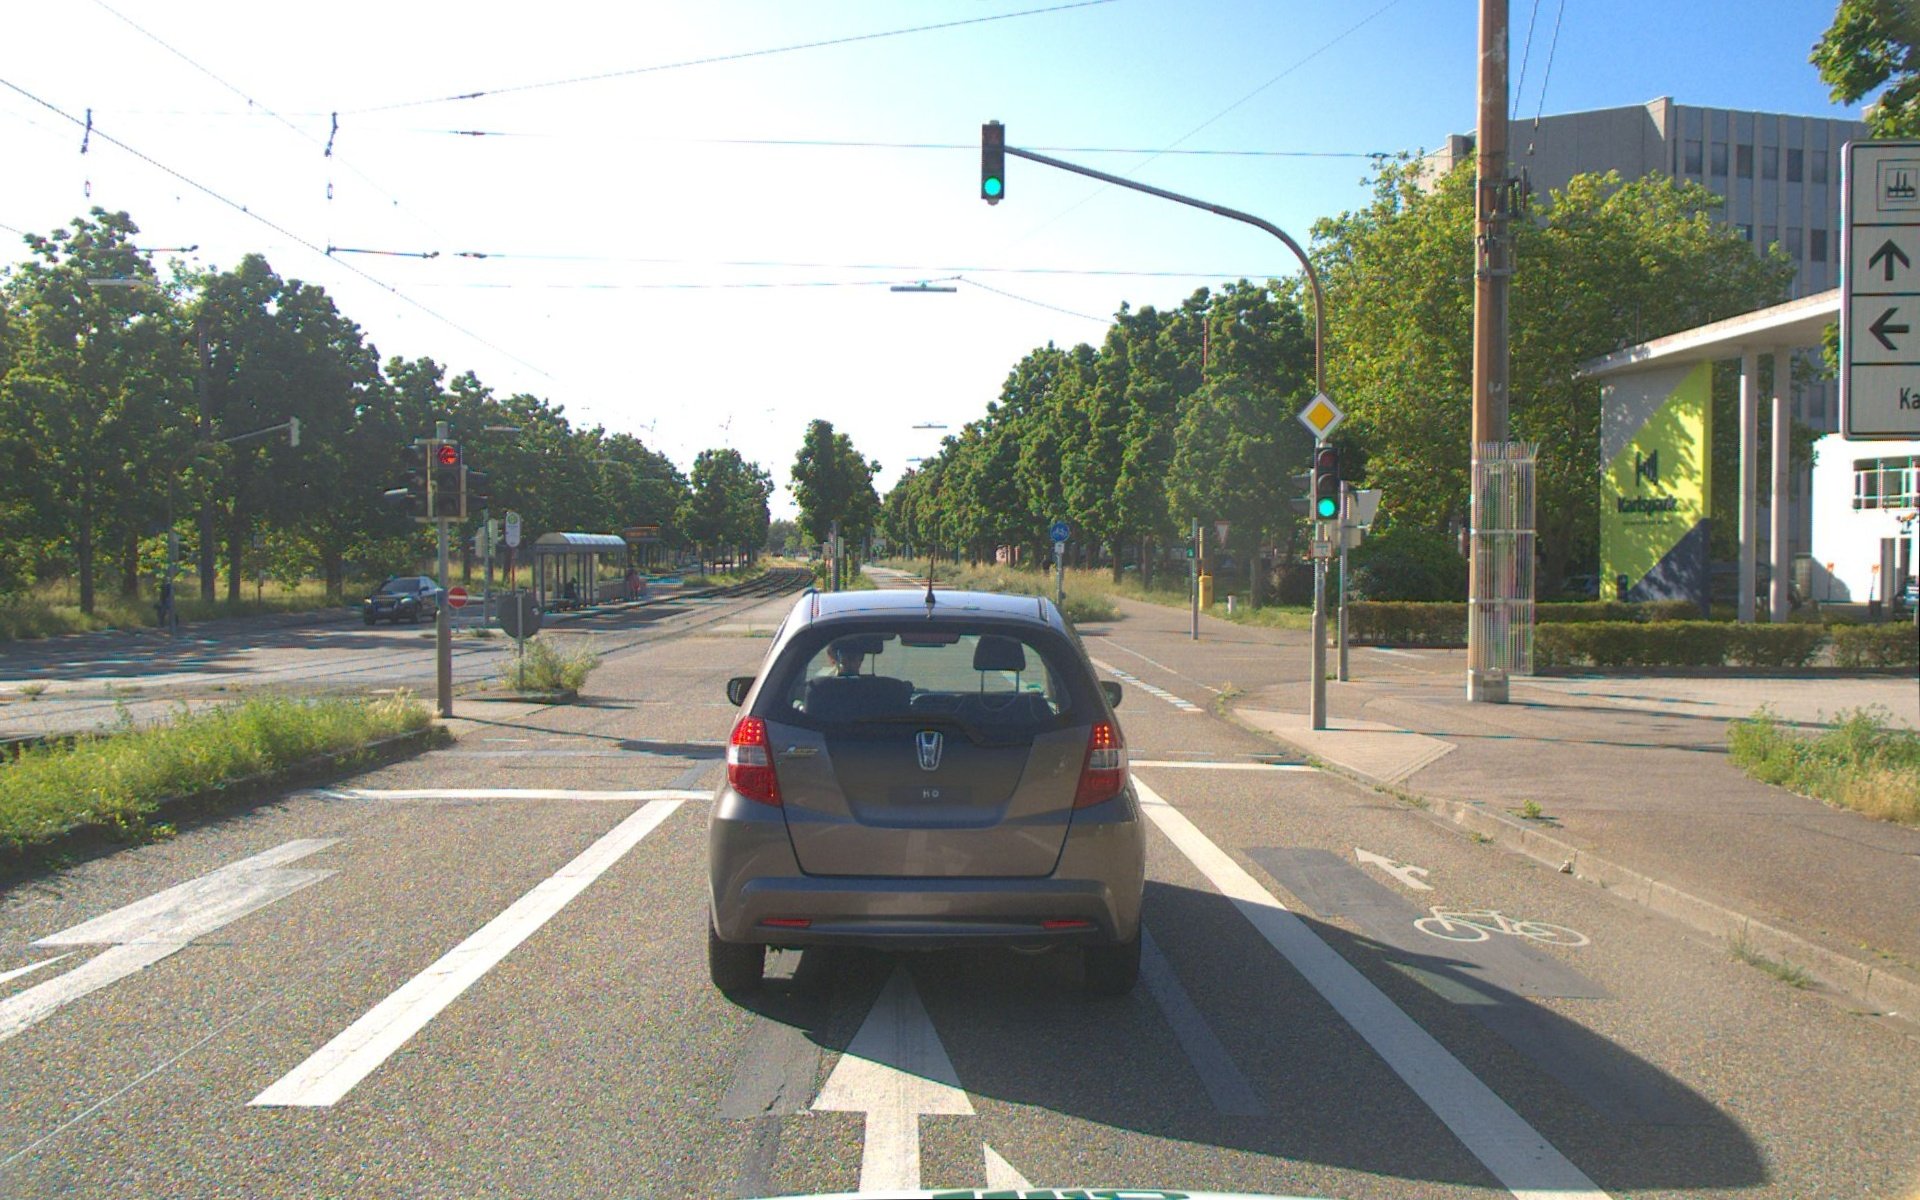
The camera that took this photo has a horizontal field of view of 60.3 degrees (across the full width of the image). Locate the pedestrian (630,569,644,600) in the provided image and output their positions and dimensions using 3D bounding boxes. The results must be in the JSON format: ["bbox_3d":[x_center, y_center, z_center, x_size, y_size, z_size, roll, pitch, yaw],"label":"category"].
[{"bbox_3d":[-15.587,-0.762,79.858,0.533,1.473,0.559,-1,0,-1],"label":"pedestrian"}]

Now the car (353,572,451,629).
[{"bbox_3d":[-20.150,-0.023,59.976,2.052,1.841,4.791,-2,2,-3],"label":"car"}]

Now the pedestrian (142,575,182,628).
[{"bbox_3d":[-26.656,0.036,55.251,0.744,1.764,0.936,0,1,27],"label":"pedestrian"}]

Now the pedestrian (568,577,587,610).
[{"bbox_3d":[-15.097,-0.262,65.304,0.552,1.279,0.580,-2,0,-2],"label":"pedestrian"}]

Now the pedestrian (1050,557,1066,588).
[{"bbox_3d":[6.102,-1.744,102.980,0.865,1.917,0.875,0,1,-5],"label":"pedestrian"}]

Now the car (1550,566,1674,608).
[{"bbox_3d":[26.633,-0.546,67.607,4.371,1.715,1.892,0,1,-7],"label":"car"}]

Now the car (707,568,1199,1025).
[{"bbox_3d":[-0.047,0.670,7.509,1.666,1.550,3.709,1,0,-1],"label":"car"}]

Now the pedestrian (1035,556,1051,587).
[{"bbox_3d":[5.182,-1.760,102.949,0.865,1.917,0.875,0,1,-5],"label":"pedestrian"}]

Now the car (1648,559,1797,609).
[{"bbox_3d":[27.998,-0.613,60.765,4.803,1.787,2.083,0,1,-16],"label":"car"}]

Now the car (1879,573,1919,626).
[{"bbox_3d":[30.630,-0.021,50.738,3.914,1.605,1.950,0,1,-10],"label":"car"}]

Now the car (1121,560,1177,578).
[{"bbox_3d":[16.516,-2.737,144.811,4.543,1.582,1.997,-1,1,-7],"label":"car"}]
